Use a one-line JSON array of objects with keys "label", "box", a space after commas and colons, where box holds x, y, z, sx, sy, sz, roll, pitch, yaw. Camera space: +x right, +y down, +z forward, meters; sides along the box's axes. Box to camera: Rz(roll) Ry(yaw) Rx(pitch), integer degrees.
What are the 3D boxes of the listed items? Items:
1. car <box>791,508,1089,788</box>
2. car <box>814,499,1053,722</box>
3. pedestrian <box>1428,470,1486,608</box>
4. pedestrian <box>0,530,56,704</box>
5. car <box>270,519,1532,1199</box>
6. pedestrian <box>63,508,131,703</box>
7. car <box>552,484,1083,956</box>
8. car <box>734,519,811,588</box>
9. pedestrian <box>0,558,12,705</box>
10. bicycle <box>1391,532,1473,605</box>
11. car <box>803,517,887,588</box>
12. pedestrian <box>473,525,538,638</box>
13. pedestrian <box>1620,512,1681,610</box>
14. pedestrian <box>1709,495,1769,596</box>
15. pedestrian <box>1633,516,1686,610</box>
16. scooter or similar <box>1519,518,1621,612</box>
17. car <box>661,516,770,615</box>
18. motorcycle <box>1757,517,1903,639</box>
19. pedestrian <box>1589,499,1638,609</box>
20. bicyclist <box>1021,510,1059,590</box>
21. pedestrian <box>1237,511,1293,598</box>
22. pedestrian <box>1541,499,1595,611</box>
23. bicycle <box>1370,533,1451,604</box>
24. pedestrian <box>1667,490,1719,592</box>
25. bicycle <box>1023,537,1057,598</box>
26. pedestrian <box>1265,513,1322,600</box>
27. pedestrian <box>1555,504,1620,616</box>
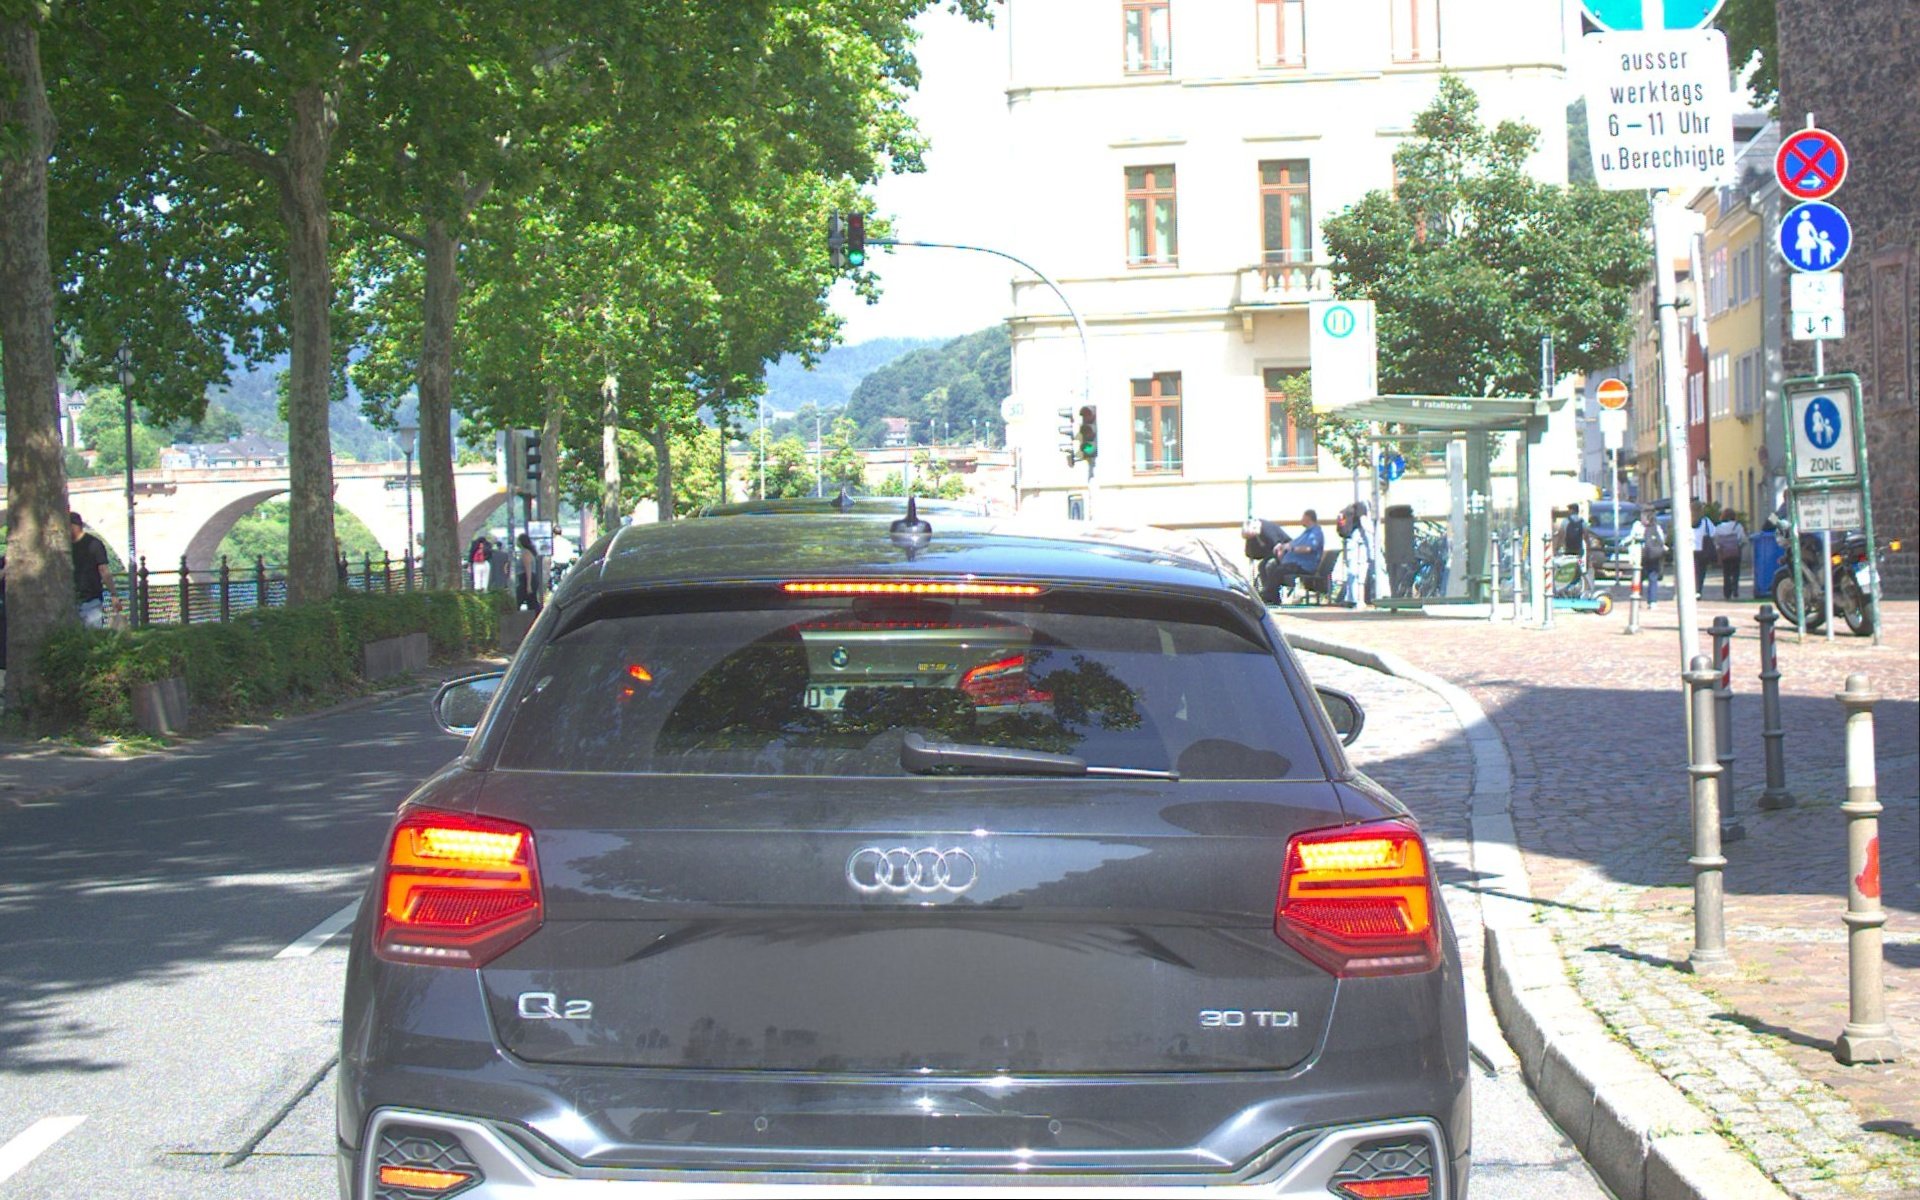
[{"label": "car", "box": [-0.136, 0.236, 21.592, 1.710, 1.603, 3.655, 0, 1, -1]}, {"label": "car", "box": [-0.224, 0.035, 28.124, 1.794, 1.676, 4.000, 1, 1, -1]}, {"label": "pedestrian", "box": [6.063, -0.744, 41.931, 0.654, 1.656, 0.809, -1, 1, 8]}, {"label": "pedestrian", "box": [-9.243, 0.159, 33.641, 0.601, 1.680, 0.583, -1, 1, -2]}, {"label": "car", "box": [-0.108, 0.613, 6.611, 1.743, 1.504, 3.647, 1, 1, -1]}, {"label": "pedestrian", "box": [-8.387, 0.046, 33.419, 0.534, 1.880, 0.436, -1, 1, -1]}, {"label": "car", "box": [-0.507, 0.373, 13.459, 1.793, 1.589, 3.399, 1, 1, -1]}, {"label": "car", "box": [-4.834, -1.228, 89.263, 1.769, 1.654, 4.000, -3, 1, -1]}, {"label": "pedestrian", "box": [-9.128, 0.288, 31.988, 0.479, 1.358, 0.417, 0, 1, 4]}, {"label": "bicycle", "box": [6.726, -0.445, 48.973, 1.201, 1.031, 0.179, 1, 0, -19]}, {"label": "car", "box": [-3.012, -1.230, 90.536, 1.993, 1.800, 4.000, 1, 0, 1]}, {"label": "pedestrian", "box": [-7.295, -0.302, 55.199, 0.911, 1.805, 0.586, 1, 1, 4]}, {"label": "pedestrian", "box": [10.394, -0.587, 51.745, 0.638, 1.439, 0.799, -2, 1, -7]}, {"label": "pedestrian", "box": [12.648, -0.890, 55.828, 0.691, 1.607, 0.891, -3, 1, -1]}, {"label": "pedestrian", "box": [15.091, -0.788, 74.208, 0.944, 2.007, 0.807, 1, 0, 0]}, {"label": "scooter or similar", "box": [6.986, -0.399, 39.394, 1.088, 1.062, 0.323, 1, 0, -2]}, {"label": "car", "box": [-4.441, -0.657, 63.015, 1.673, 1.654, 4.223, -4, 1, -1]}, {"label": "motorcycle", "box": [7.599, -0.213, 30.135, 0.566, 1.009, 2.490, -1, 1, -2]}, {"label": "pedestrian", "box": [14.066, -0.992, 74.028, 0.879, 2.350, 0.745, 1, 0, -1]}, {"label": "bicyclist", "box": [1.456, -0.911, 62.416, 0.605, 1.445, 0.591, 1, 0, -5]}, {"label": "pedestrian", "box": [4.340, -0.643, 48.870, 0.663, 1.227, 0.641, 1, 0, -6]}, {"label": "pedestrian", "box": [7.555, -0.554, 42.736, 0.557, 1.380, 0.588, 1, 0, 2]}, {"label": "bicycle", "box": [6.504, -0.450, 49.613, 1.184, 1.012, 0.179, 1, 0, -19]}, {"label": "pedestrian", "box": [11.902, -0.958, 55.829, 0.607, 1.613, 0.710, -3, 0, -1]}, {"label": "bicycle", "box": [1.451, -0.589, 62.413, 0.437, 1.082, 1.677, 1, 0, -5]}, {"label": "pedestrian", "box": [4.670, -0.607, 48.174, 0.663, 1.207, 0.641, 1, 0, -6]}, {"label": "pedestrian", "box": [11.424, -0.730, 62.636, 0.940, 2.007, 0.808, 1, 0, -8]}]
